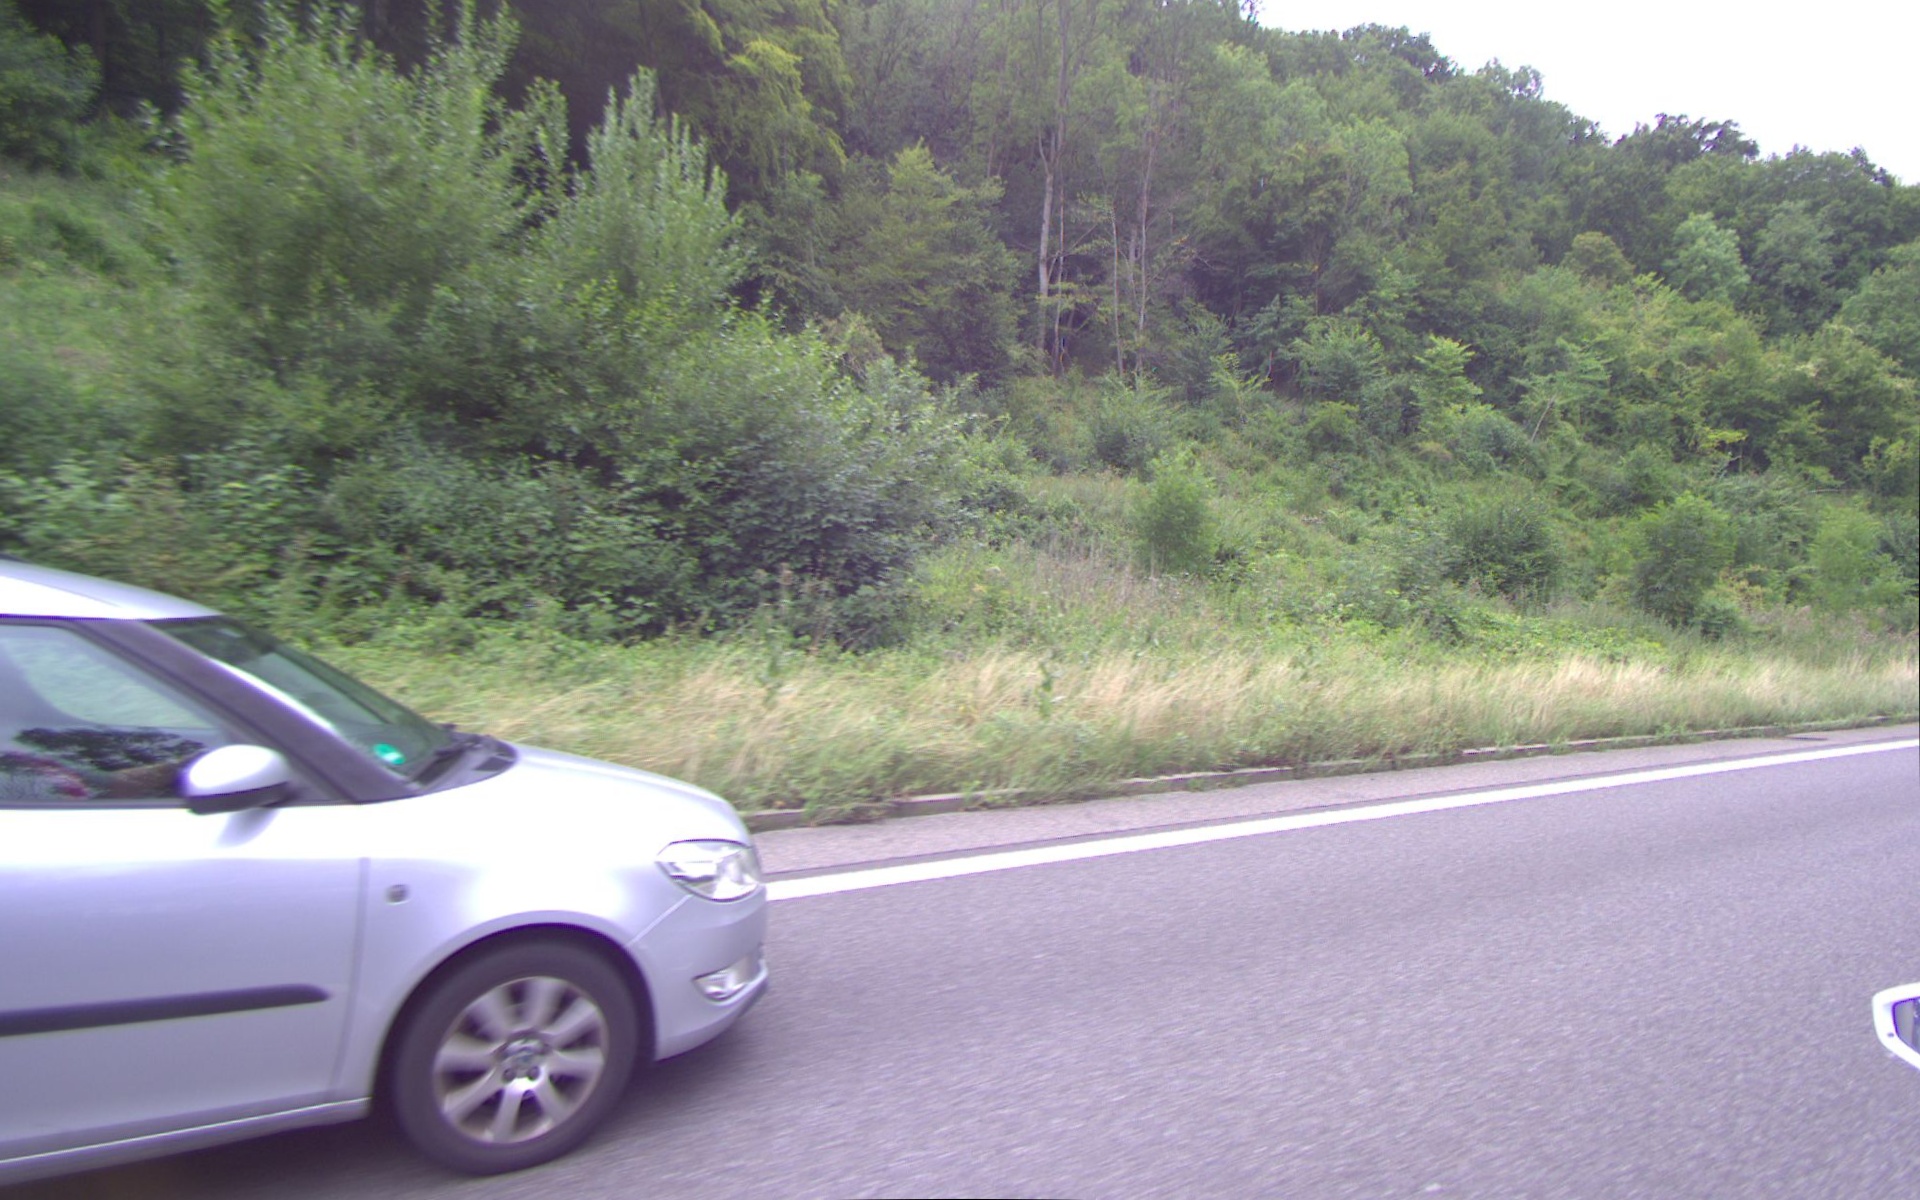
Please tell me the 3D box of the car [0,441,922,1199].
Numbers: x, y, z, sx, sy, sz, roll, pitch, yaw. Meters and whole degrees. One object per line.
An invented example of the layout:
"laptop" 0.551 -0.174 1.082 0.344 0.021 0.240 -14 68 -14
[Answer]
"car" -2.369 0.570 2.688 4.294 1.749 1.626 1 -2 -31
